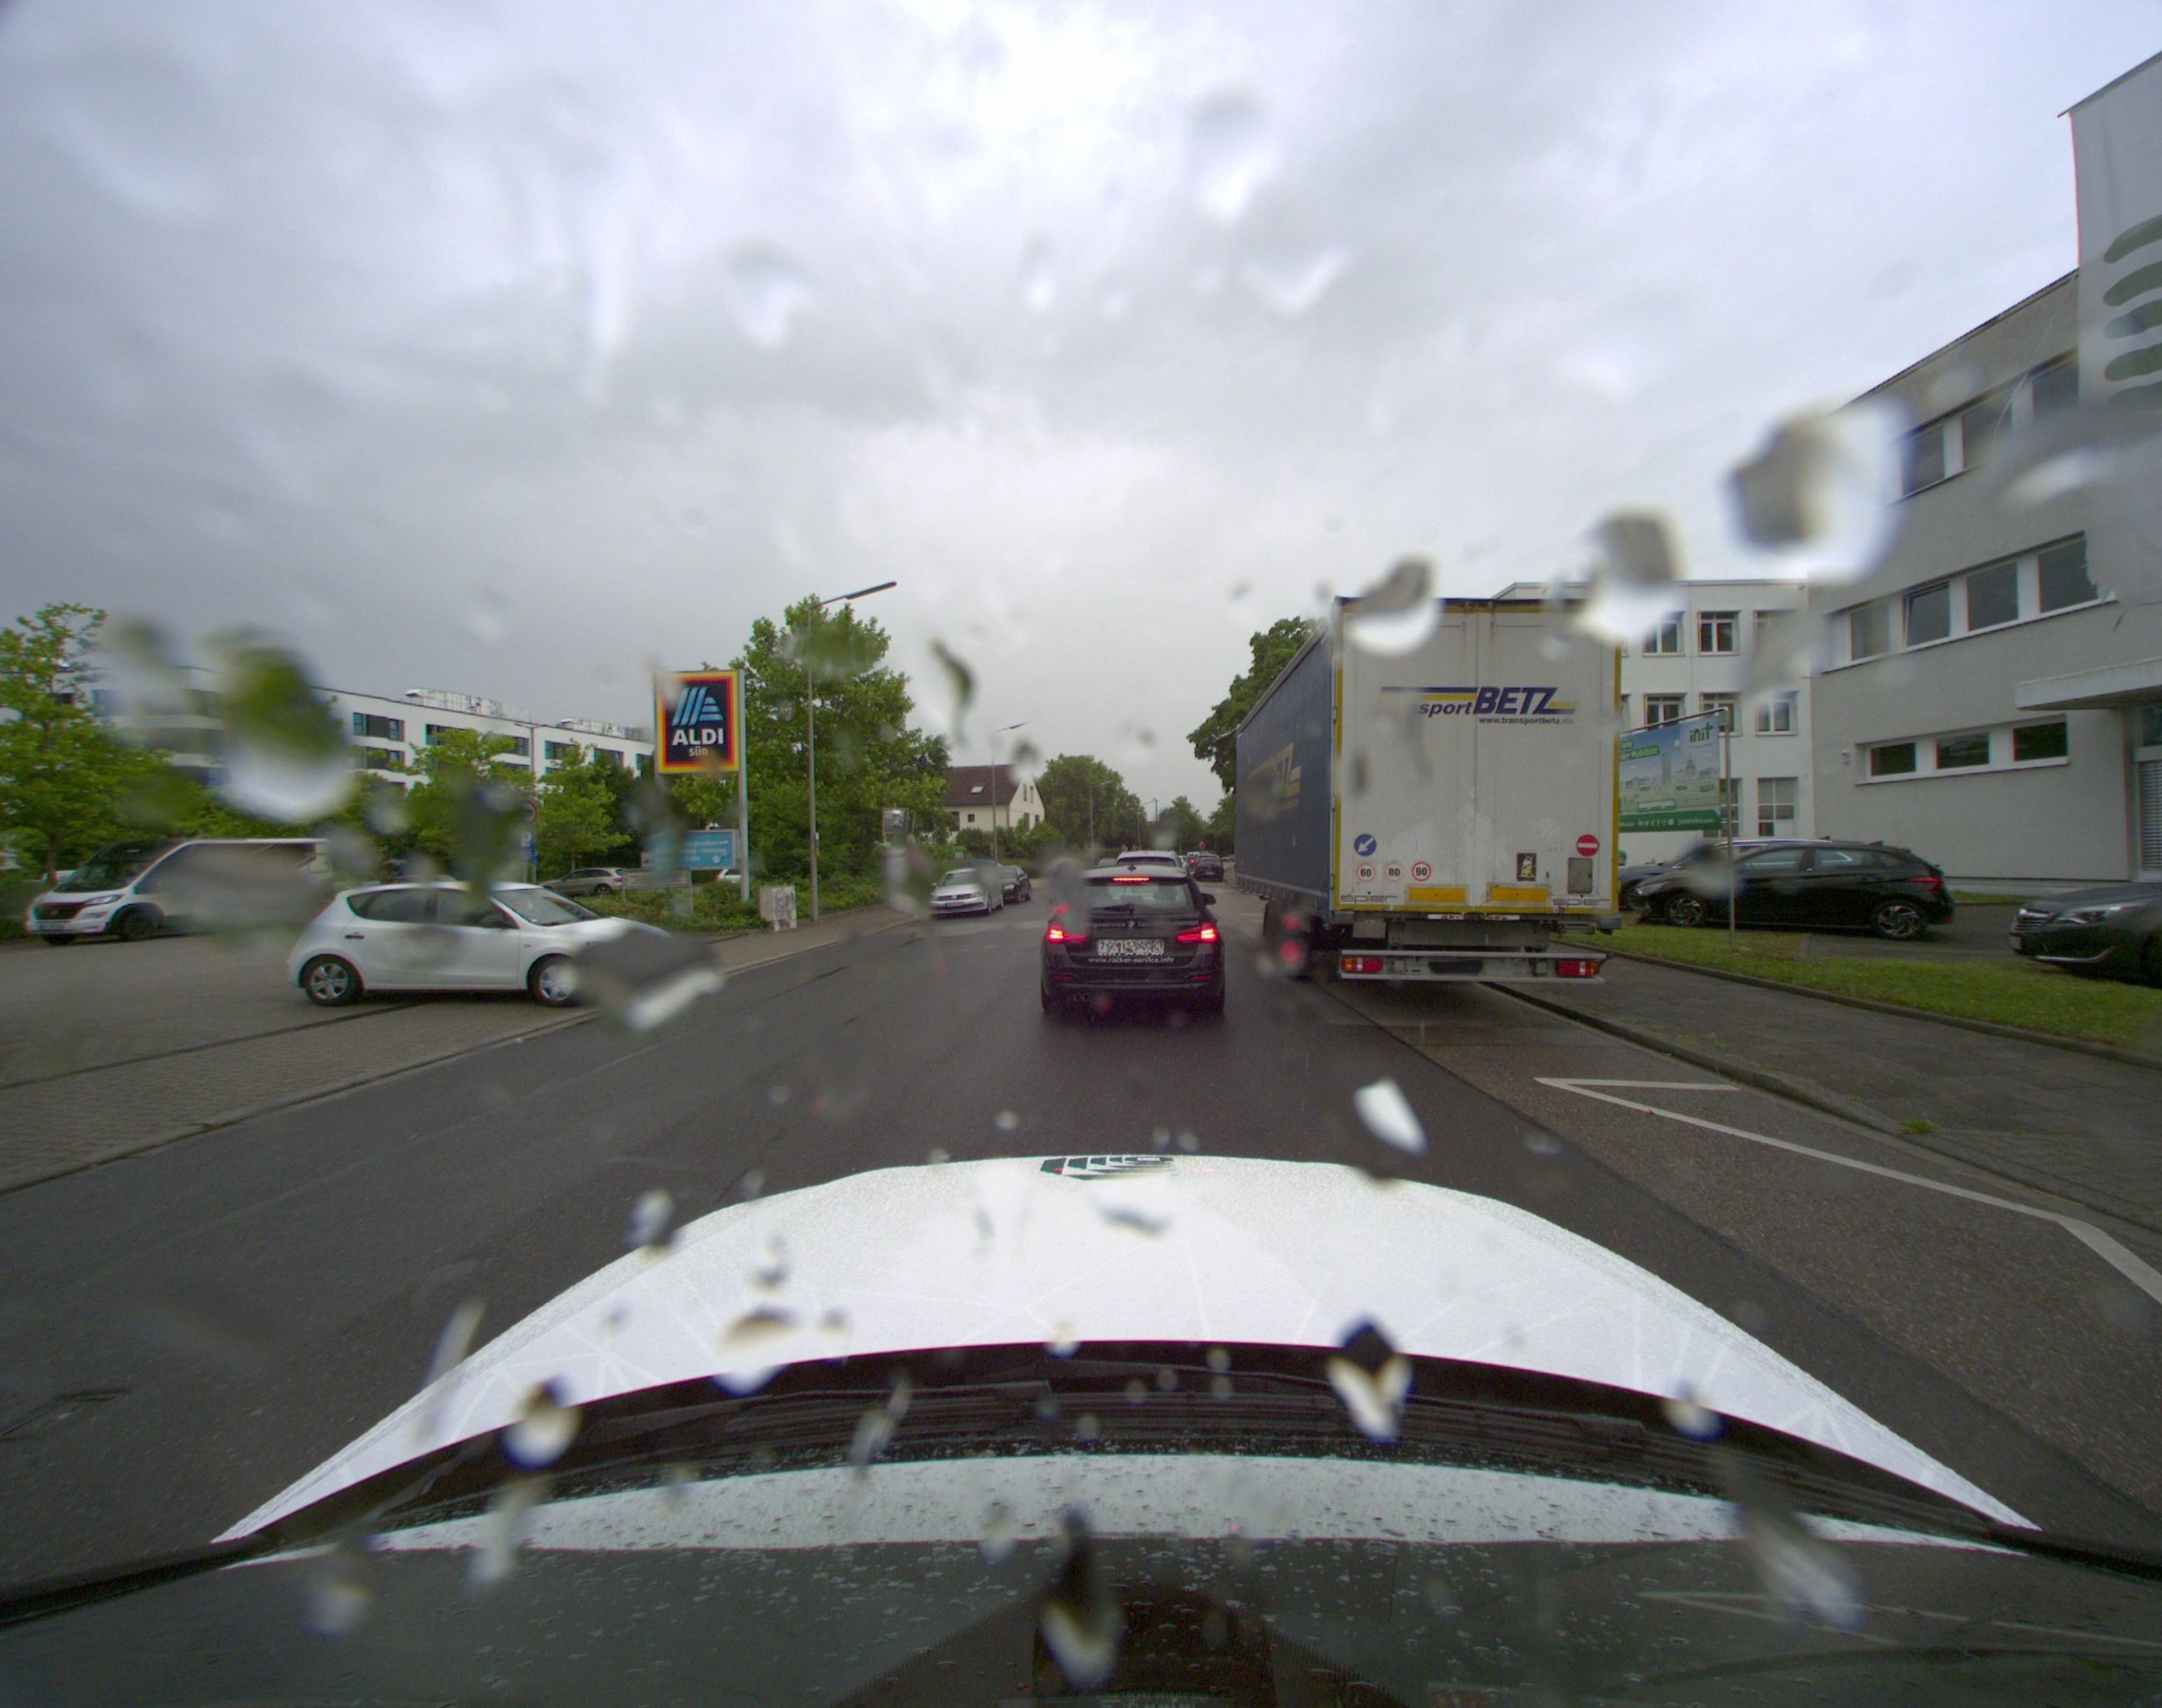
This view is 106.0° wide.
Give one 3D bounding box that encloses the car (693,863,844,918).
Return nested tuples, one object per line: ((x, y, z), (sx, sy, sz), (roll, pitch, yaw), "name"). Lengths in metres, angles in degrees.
((-8.728, 0.997, 22.954), (3.556, 1.460, 1.713), (0, 0, 2), "car")

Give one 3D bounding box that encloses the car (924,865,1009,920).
((-3.416, 1.117, 25.170), (1.699, 1.367, 4.604), (-4, 0, 2), "car")

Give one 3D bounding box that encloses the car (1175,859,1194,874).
((10.787, 1.299, 84.625), (1.794, 1.586, 4.009), (-1, -1, 8), "car")

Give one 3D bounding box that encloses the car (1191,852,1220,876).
((8.575, 0.671, 56.271), (1.795, 1.586, 4.007), (-1, -1, 6), "car")

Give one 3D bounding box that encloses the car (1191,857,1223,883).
((7.888, 0.997, 51.119), (1.795, 1.586, 4.007), (-1, -1, 6), "car")

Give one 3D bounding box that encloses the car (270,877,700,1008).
((-7.419, 1.060, 10.483), (4.180, 1.460, 1.711), (-1, 0, -3), "car")

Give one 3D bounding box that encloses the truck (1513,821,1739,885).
((20.105, -0.017, 30.273), (6.897, 2.140, 2.095), (-1, 0, 1), "truck")

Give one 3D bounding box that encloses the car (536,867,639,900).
((-24.933, 1.463, 41.235), (3.971, 1.499, 2.001), (-1, 0, 2), "car")

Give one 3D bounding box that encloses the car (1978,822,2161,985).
((11.490, 0.401, 7.133), (4.616, 1.468, 1.803), (-2, 0, 38), "car")

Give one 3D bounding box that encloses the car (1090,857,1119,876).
((1.979, 0.999, 67.412), (1.694, 1.367, 3.850), (-4, 0, 11), "car")

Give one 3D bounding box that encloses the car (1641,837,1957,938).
((11.743, 0.447, 13.614), (3.733, 1.396, 1.738), (2, 2, 40), "car")

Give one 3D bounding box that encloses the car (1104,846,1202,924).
((1.528, 0.651, 18.608), (1.799, 1.586, 3.997), (0, -1, -1), "car")

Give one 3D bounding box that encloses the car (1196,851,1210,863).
((16.437, 0.360, 109.822), (1.794, 1.586, 4.009), (-1, 0, 8), "car")

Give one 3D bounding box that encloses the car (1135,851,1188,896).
((3.032, 0.708, 30.440), (1.795, 1.586, 4.007), (-1, -1, 6), "car")

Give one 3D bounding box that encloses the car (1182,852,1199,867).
((12.397, 0.588, 92.015), (1.794, 1.586, 4.009), (-1, 0, 8), "car")

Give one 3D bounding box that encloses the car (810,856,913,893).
((-9.685, 0.888, 36.091), (3.972, 1.540, 1.911), (-1, 0, 1), "car")

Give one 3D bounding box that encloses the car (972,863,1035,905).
((-2.904, 1.087, 31.154), (1.698, 1.367, 3.842), (-4, 0, 4), "car")

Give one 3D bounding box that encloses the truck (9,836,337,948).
((-24.862, 0.933, 22.874), (1.987, 2.657, 6.395), (-1, 0, 0), "truck")

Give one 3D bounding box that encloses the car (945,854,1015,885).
((-6.143, 0.949, 49.607), (3.803, 1.594, 1.715), (-4, 0, 8), "car")

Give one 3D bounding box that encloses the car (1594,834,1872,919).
((12.629, 0.359, 16.007), (4.098, 1.415, 1.701), (0, 3, 41), "car")

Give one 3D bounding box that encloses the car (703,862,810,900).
((-14.486, 1.196, 36.483), (3.972, 1.540, 1.911), (-1, 0, 1), "car")

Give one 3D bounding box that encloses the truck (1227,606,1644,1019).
((3.807, -0.369, 11.055), (2.729, 3.611, 7.758), (1, 0, 4), "truck")

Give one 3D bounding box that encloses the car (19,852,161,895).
((-48.606, 0.950, 40.089), (1.986, 2.014, 4.001), (-1, -1, 1), "car")

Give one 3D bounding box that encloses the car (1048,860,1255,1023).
((0.575, 0.779, 9.079), (1.799, 1.395, 3.997), (0, -1, -1), "car")

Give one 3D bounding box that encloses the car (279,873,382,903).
((-42.010, 1.874, 45.642), (3.971, 1.529, 2.001), (-1, 0, 2), "car")

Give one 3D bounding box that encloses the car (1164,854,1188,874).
((7.858, 0.812, 66.882), (1.794, 1.586, 4.009), (-1, -1, 8), "car")

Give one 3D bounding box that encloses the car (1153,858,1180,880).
((6.342, 1.074, 60.439), (1.794, 1.586, 4.009), (-1, -1, 8), "car")
